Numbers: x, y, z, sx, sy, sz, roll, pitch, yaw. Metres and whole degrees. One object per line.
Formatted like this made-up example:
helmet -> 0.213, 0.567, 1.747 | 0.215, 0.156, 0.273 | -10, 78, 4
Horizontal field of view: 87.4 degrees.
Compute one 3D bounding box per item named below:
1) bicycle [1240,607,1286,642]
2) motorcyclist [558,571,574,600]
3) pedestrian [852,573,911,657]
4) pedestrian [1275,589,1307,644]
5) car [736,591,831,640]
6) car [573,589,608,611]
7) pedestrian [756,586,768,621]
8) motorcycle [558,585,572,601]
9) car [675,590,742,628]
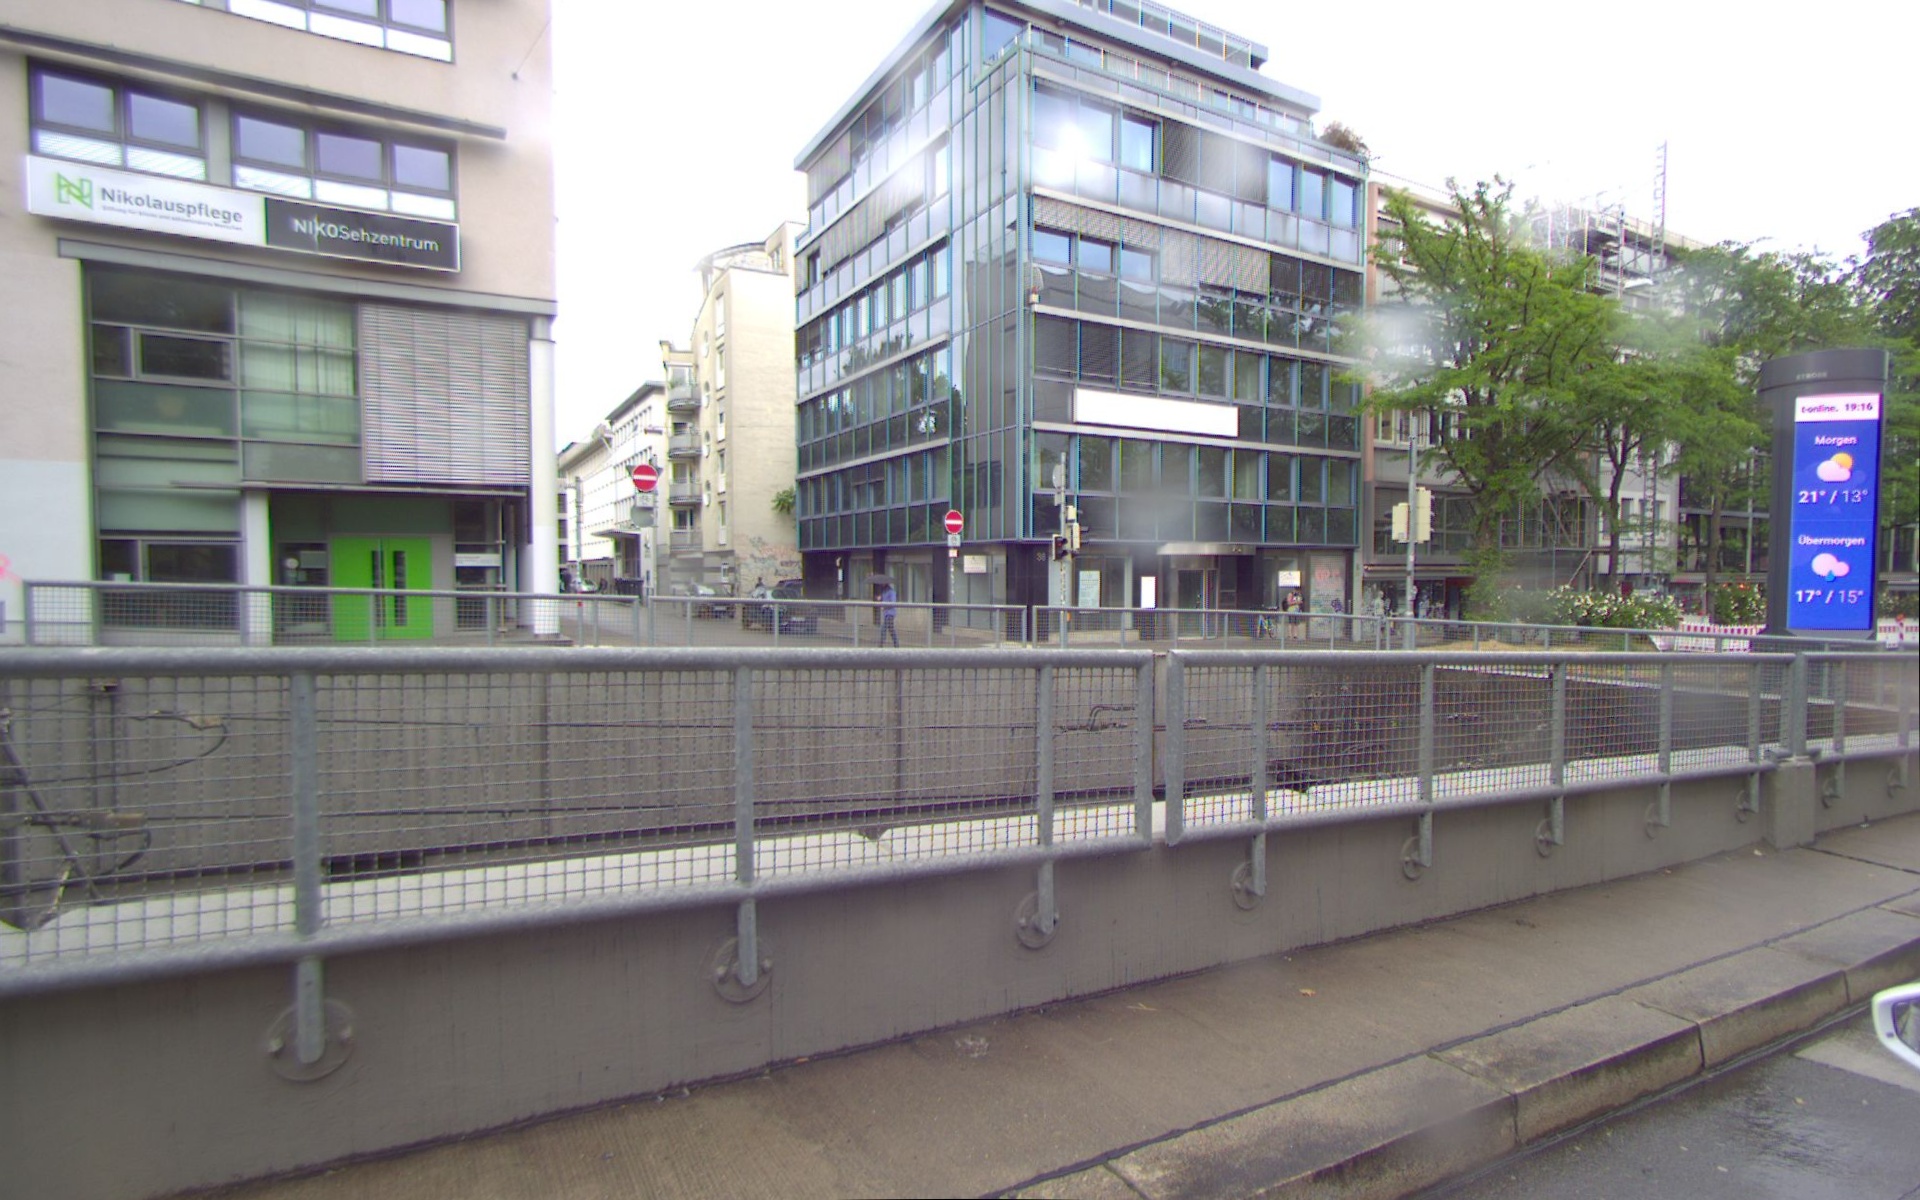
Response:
bicycle -> 9.871, 0.792, 32.727 | 1.544, 1.100, 0.444 | 1, 1, -27
motorcyclist -> -25.453, -0.954, 64.860 | 0.850, 1.832, 1.007 | 1, 2, -29
pedestrian -> -1.802, 0.345, 22.989 | 1.047, 1.863, 0.853 | 1, 2, -30
pedestrian -> 10.951, 0.551, 33.234 | 0.688, 1.765, 0.691 | 1, 2, -35
car -> -6.239, 0.502, 35.174 | 1.977, 1.578, 3.966 | 1, 0, -31
car -> -28.002, -0.011, 76.099 | 1.777, 1.578, 3.967 | 1, 0, -30
pedestrian -> -9.411, 0.166, 47.723 | 0.443, 1.664, 0.326 | 1, 2, -35
motorcycle -> -25.500, -0.448, 64.856 | 0.696, 0.984, 0.977 | 1, 2, -29
car -> -11.104, 0.361, 44.112 | 1.777, 1.578, 3.966 | 1, 0, -31
